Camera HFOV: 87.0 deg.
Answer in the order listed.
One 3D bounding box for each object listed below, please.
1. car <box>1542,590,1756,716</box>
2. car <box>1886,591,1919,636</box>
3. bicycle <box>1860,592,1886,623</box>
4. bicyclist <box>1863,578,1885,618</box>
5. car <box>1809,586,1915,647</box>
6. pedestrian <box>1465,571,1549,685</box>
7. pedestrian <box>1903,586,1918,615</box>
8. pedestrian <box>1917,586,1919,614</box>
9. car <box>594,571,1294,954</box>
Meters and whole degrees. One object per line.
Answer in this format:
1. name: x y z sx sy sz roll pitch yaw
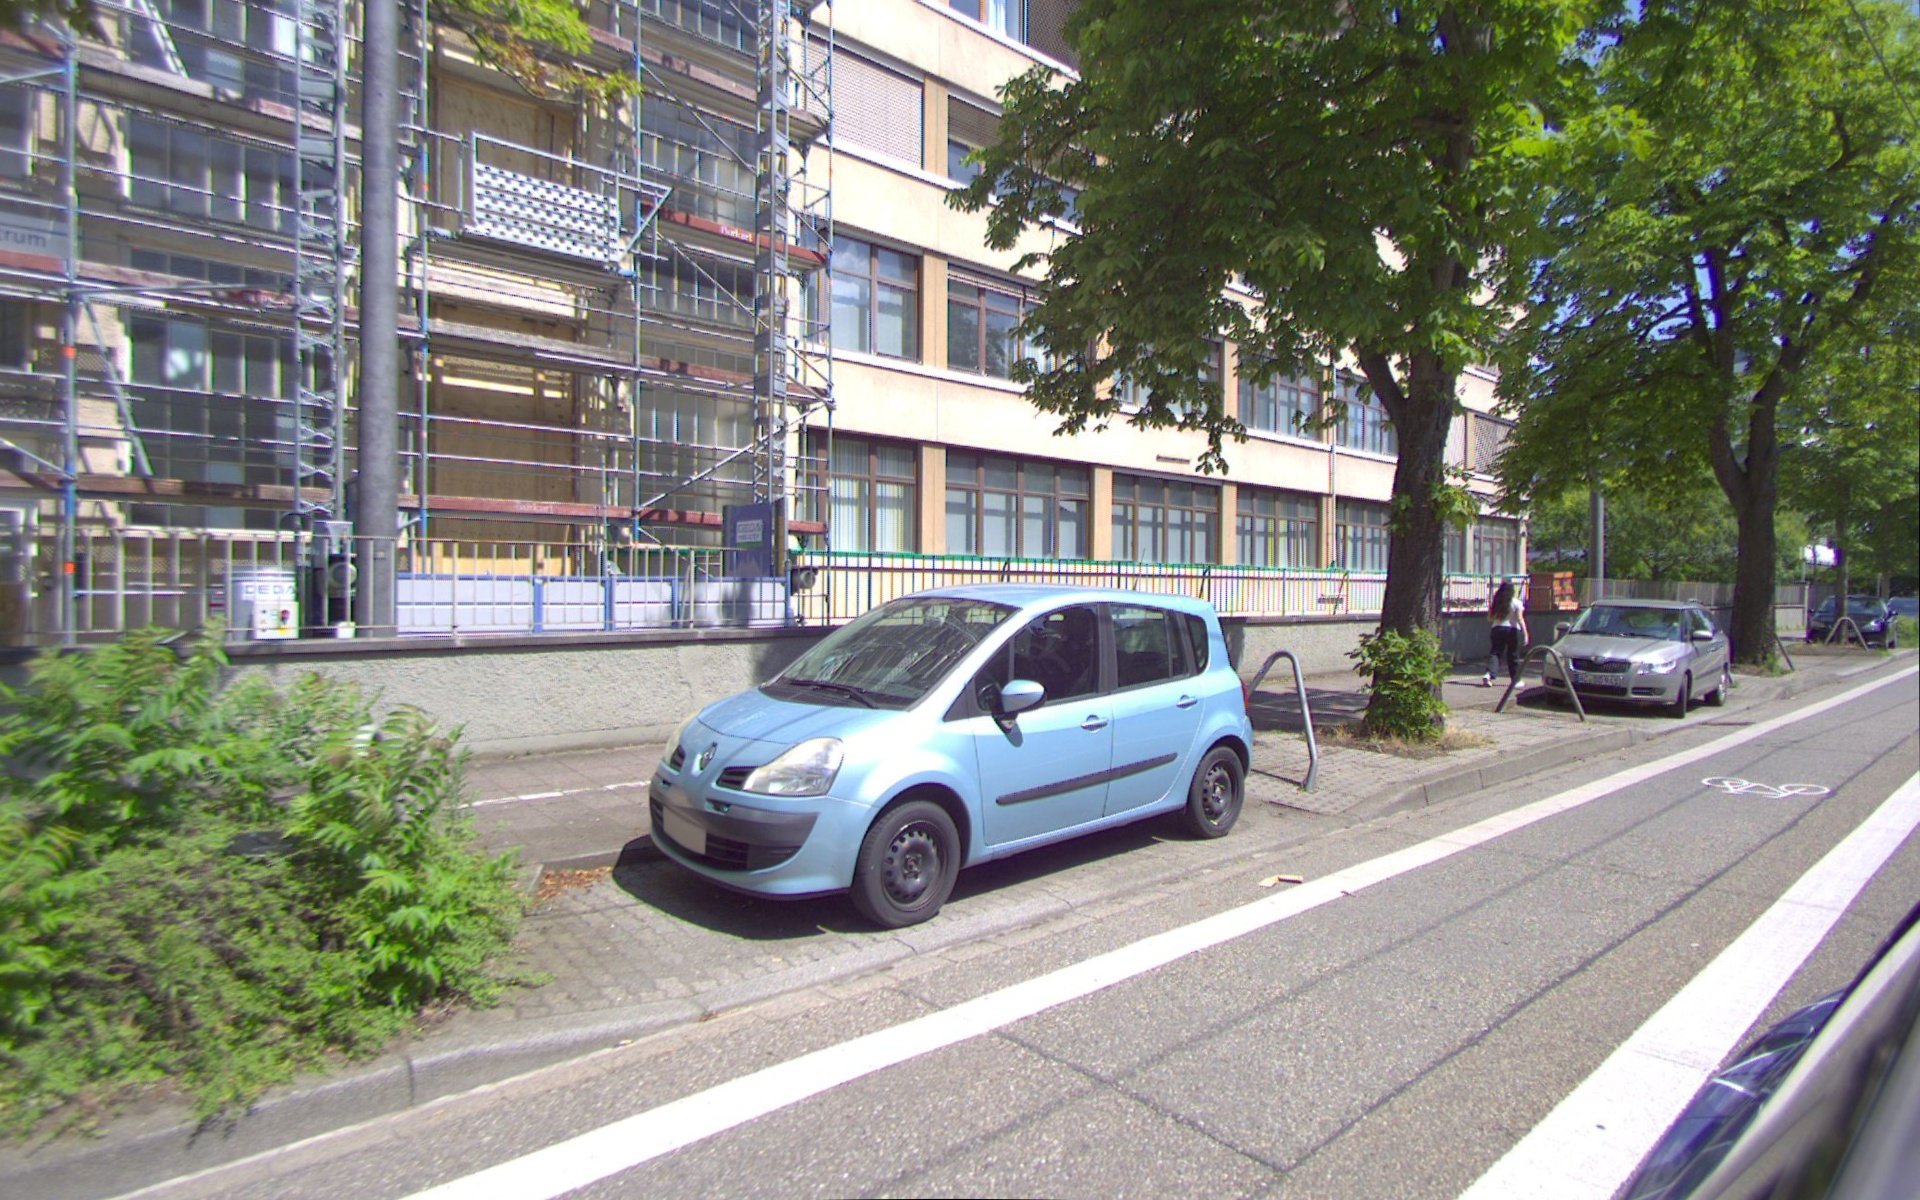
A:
1. car: 9.864 0.620 14.349 4.293 1.518 1.672 0 1 -44
2. car: 32.483 0.421 33.910 4.667 1.426 1.674 0 1 -42
3. bicycle: 38.599 0.307 42.783 1.743 1.281 0.556 0 3 -41
4. bicyclist: 38.645 -0.075 42.800 0.589 1.668 0.582 0 2 -41
5. car: 24.128 0.389 27.028 3.912 1.508 1.674 0 1 -42
6. pedestrian: 8.158 0.394 15.087 0.903 1.608 0.801 0 2 -42
7. pedestrian: 53.923 0.024 57.416 0.535 1.593 0.514 0 2 -40
8. pedestrian: 54.286 0.023 56.878 0.600 1.593 0.620 0 2 -40
9. car: 0.163 0.630 6.065 4.129 1.537 1.674 0 1 -42
